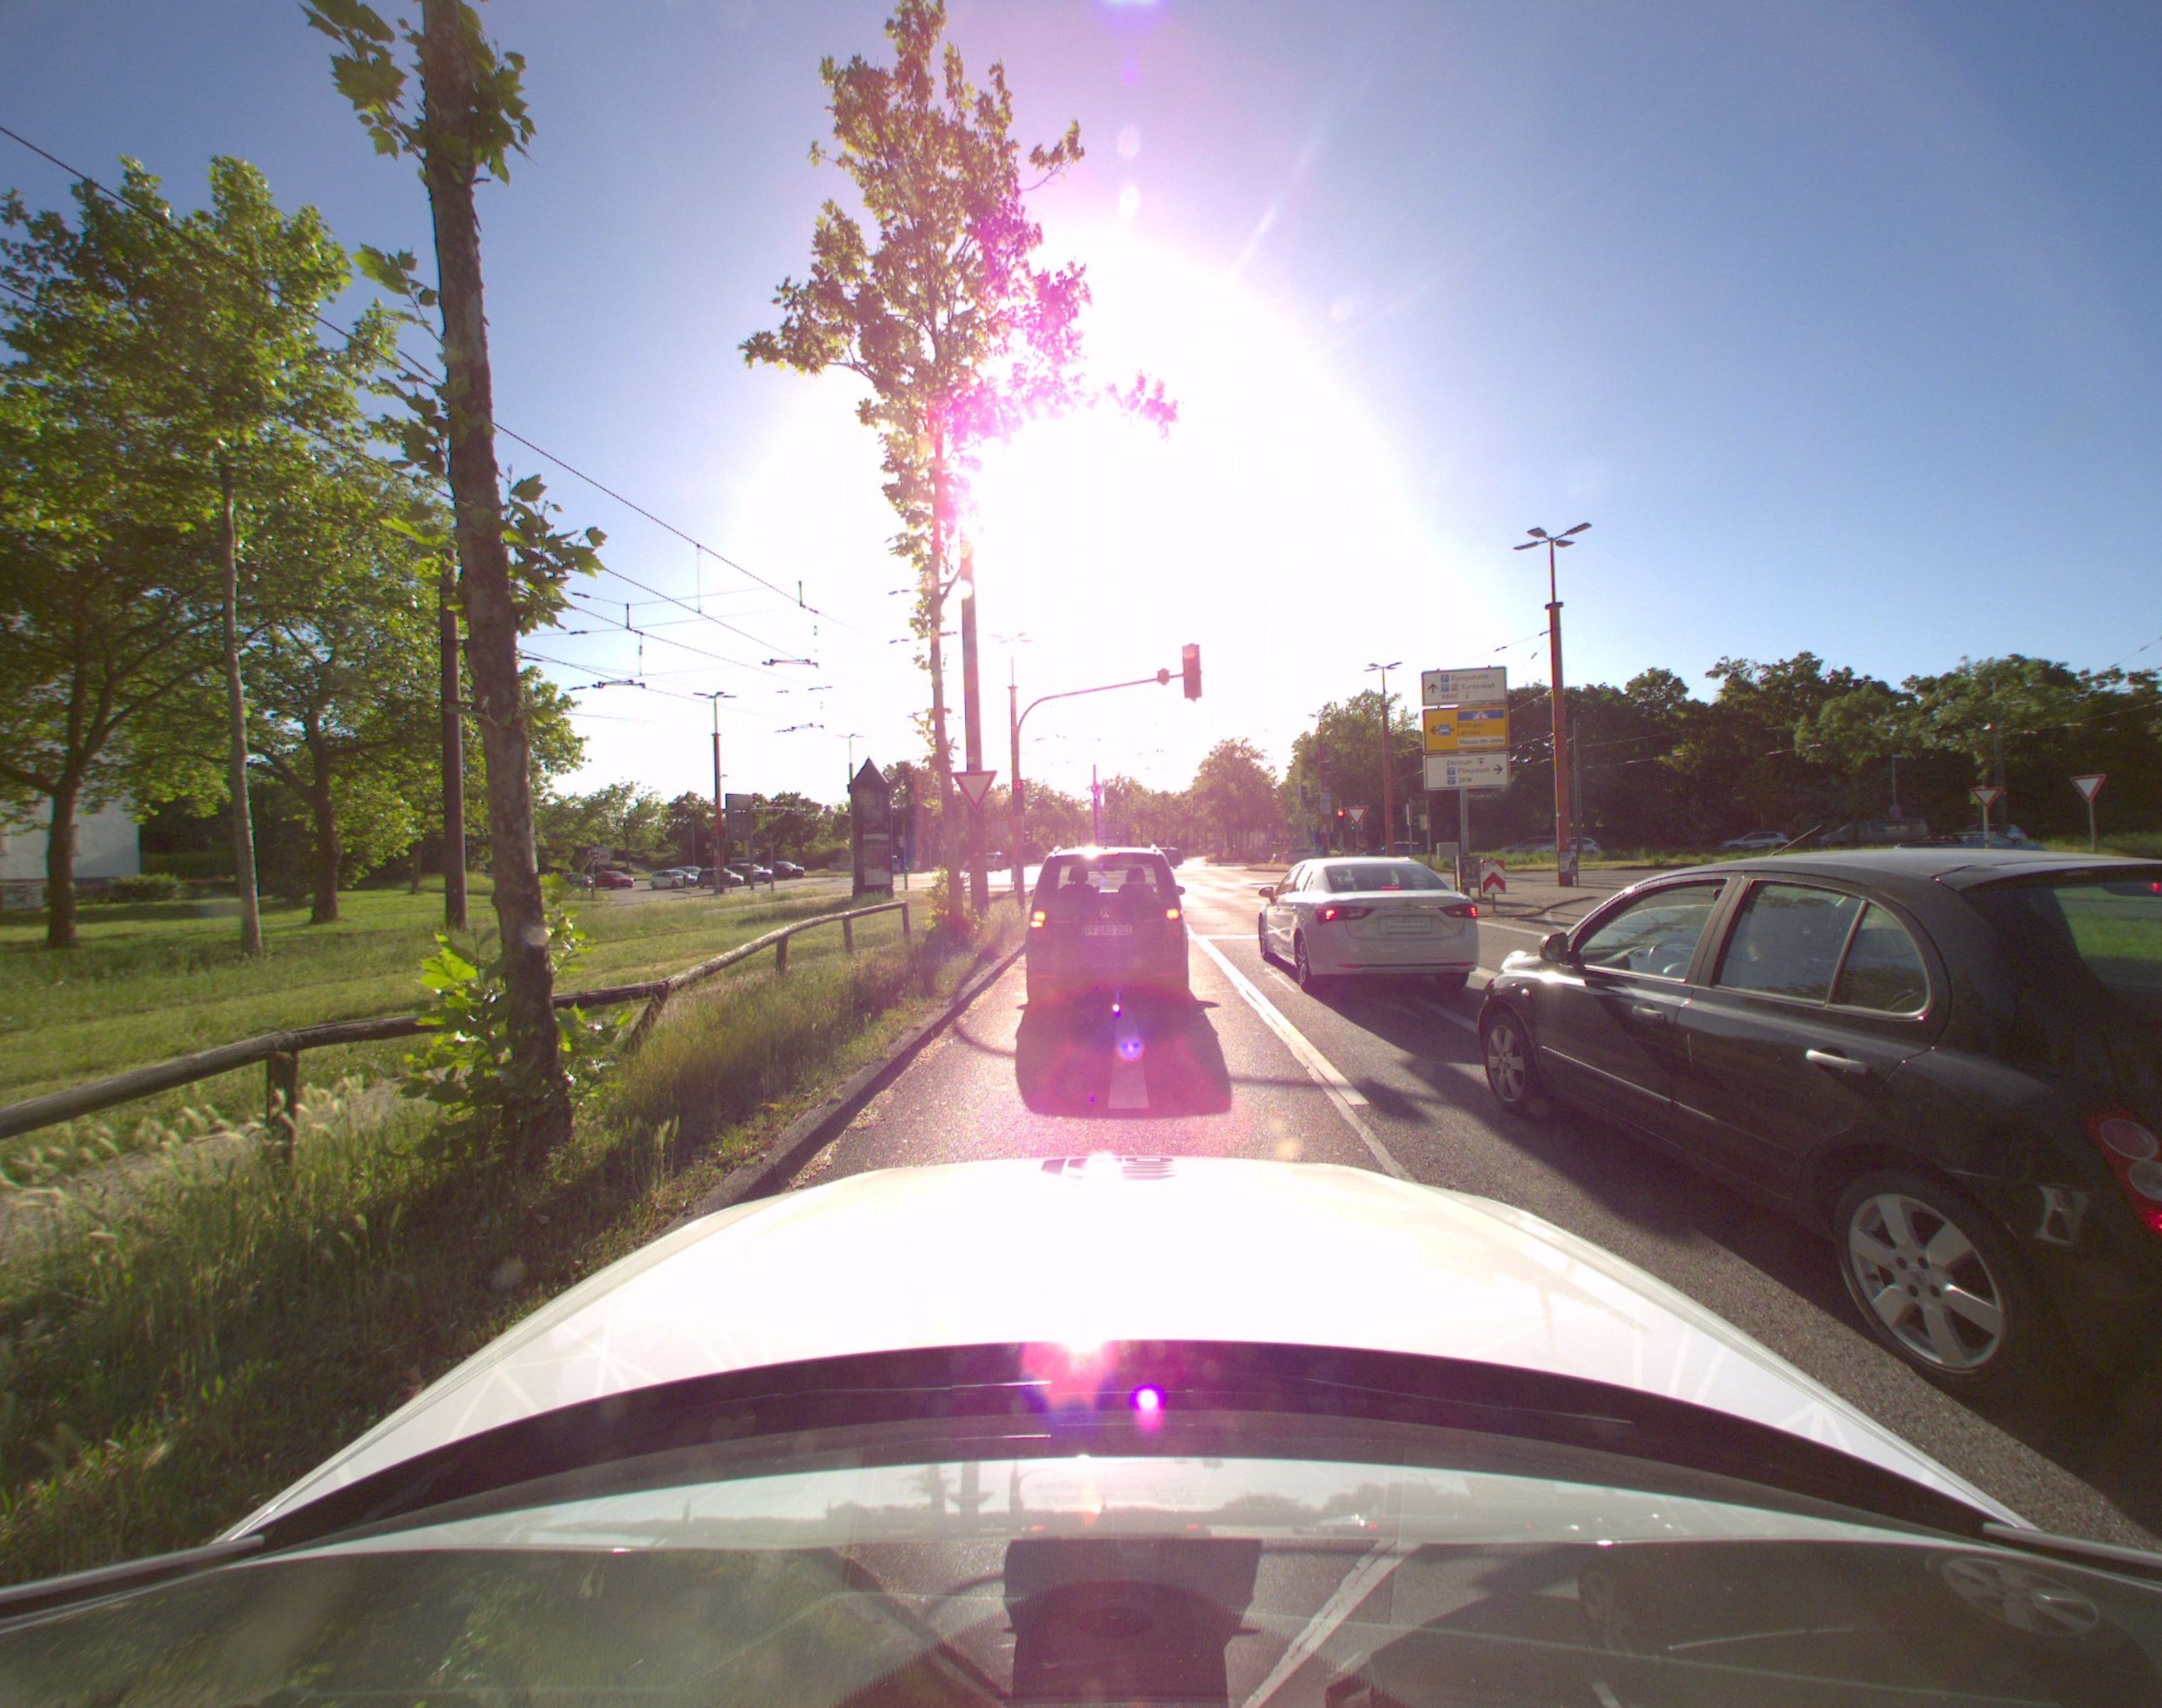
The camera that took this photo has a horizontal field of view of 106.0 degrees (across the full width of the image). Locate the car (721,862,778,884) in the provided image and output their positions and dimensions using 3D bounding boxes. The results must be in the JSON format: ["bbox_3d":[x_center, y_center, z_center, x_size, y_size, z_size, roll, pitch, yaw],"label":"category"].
[{"bbox_3d":[-26.579,1.550,65.302,3.950,1.644,2.012,-2,0,26],"label":"car"}]

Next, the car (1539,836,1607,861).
[{"bbox_3d":[32.672,-0.356,54.224,3.783,1.523,1.706,-2,0,29],"label":"car"}]

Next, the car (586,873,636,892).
[{"bbox_3d":[-39.415,2.366,68.259,3.949,1.513,1.743,-2,0,27],"label":"car"}]

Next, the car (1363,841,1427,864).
[{"bbox_3d":[23.022,-0.104,59.695,4.080,1.598,1.840,-2,0,29],"label":"car"}]

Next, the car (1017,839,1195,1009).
[{"bbox_3d":[0.298,0.689,9.926,1.694,1.621,3.898,-2,0,1],"label":"car"}]

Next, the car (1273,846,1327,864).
[{"bbox_3d":[17.776,0.102,66.142,3.926,1.441,1.697,0,-1,29],"label":"car"}]

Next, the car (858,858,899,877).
[{"bbox_3d":[-20.405,1.329,82.074,3.797,1.890,1.774,0,-1,25],"label":"car"}]

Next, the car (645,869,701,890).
[{"bbox_3d":[-32.393,2.023,64.663,4.135,1.612,1.880,-2,0,27],"label":"car"}]

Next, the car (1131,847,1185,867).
[{"bbox_3d":[6.489,0.293,68.667,4.139,1.644,1.770,0,-1,28],"label":"car"}]

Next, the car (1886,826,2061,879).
[{"bbox_3d":[28.322,-0.062,25.889,4.116,1.450,1.735,-3,1,-8],"label":"car"}]

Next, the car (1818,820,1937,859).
[{"bbox_3d":[45.815,-0.814,46.996,4.526,2.013,2.013,-2,0,32],"label":"car"}]

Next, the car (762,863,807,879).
[{"bbox_3d":[-26.522,1.487,72.851,3.948,1.330,1.709,-2,0,33],"label":"car"}]

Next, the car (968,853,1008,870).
[{"bbox_3d":[-9.238,0.700,80.683,3.608,1.655,1.690,0,-1,27],"label":"car"}]

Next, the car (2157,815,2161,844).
[{"bbox_3d":[56.787,-1.293,40.654,3.361,1.457,1.474,-2,0,30],"label":"car"}]

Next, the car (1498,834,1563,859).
[{"bbox_3d":[32.566,-0.531,59.043,4.080,1.644,1.864,-2,0,29],"label":"car"}]

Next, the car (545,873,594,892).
[{"bbox_3d":[-39.560,2.206,62.970,2.816,1.390,1.813,-2,0,19],"label":"car"}]

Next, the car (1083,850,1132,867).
[{"bbox_3d":[2.457,0.400,74.647,4.082,1.511,1.834,0,-1,28],"label":"car"}]

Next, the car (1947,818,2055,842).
[{"bbox_3d":[52.785,-1.331,46.811,3.792,1.264,1.613,0,-1,28],"label":"car"}]

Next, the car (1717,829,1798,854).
[{"bbox_3d":[43.125,-0.771,51.985,3.700,1.473,1.610,-2,0,28],"label":"car"}]

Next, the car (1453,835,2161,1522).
[{"bbox_3d":[3.220,0.701,3.570,1.647,1.500,3.617,-1,0,2],"label":"car"}]

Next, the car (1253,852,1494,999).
[{"bbox_3d":[3.331,0.712,10.151,1.713,1.438,4.202,-1,0,3],"label":"car"}]
